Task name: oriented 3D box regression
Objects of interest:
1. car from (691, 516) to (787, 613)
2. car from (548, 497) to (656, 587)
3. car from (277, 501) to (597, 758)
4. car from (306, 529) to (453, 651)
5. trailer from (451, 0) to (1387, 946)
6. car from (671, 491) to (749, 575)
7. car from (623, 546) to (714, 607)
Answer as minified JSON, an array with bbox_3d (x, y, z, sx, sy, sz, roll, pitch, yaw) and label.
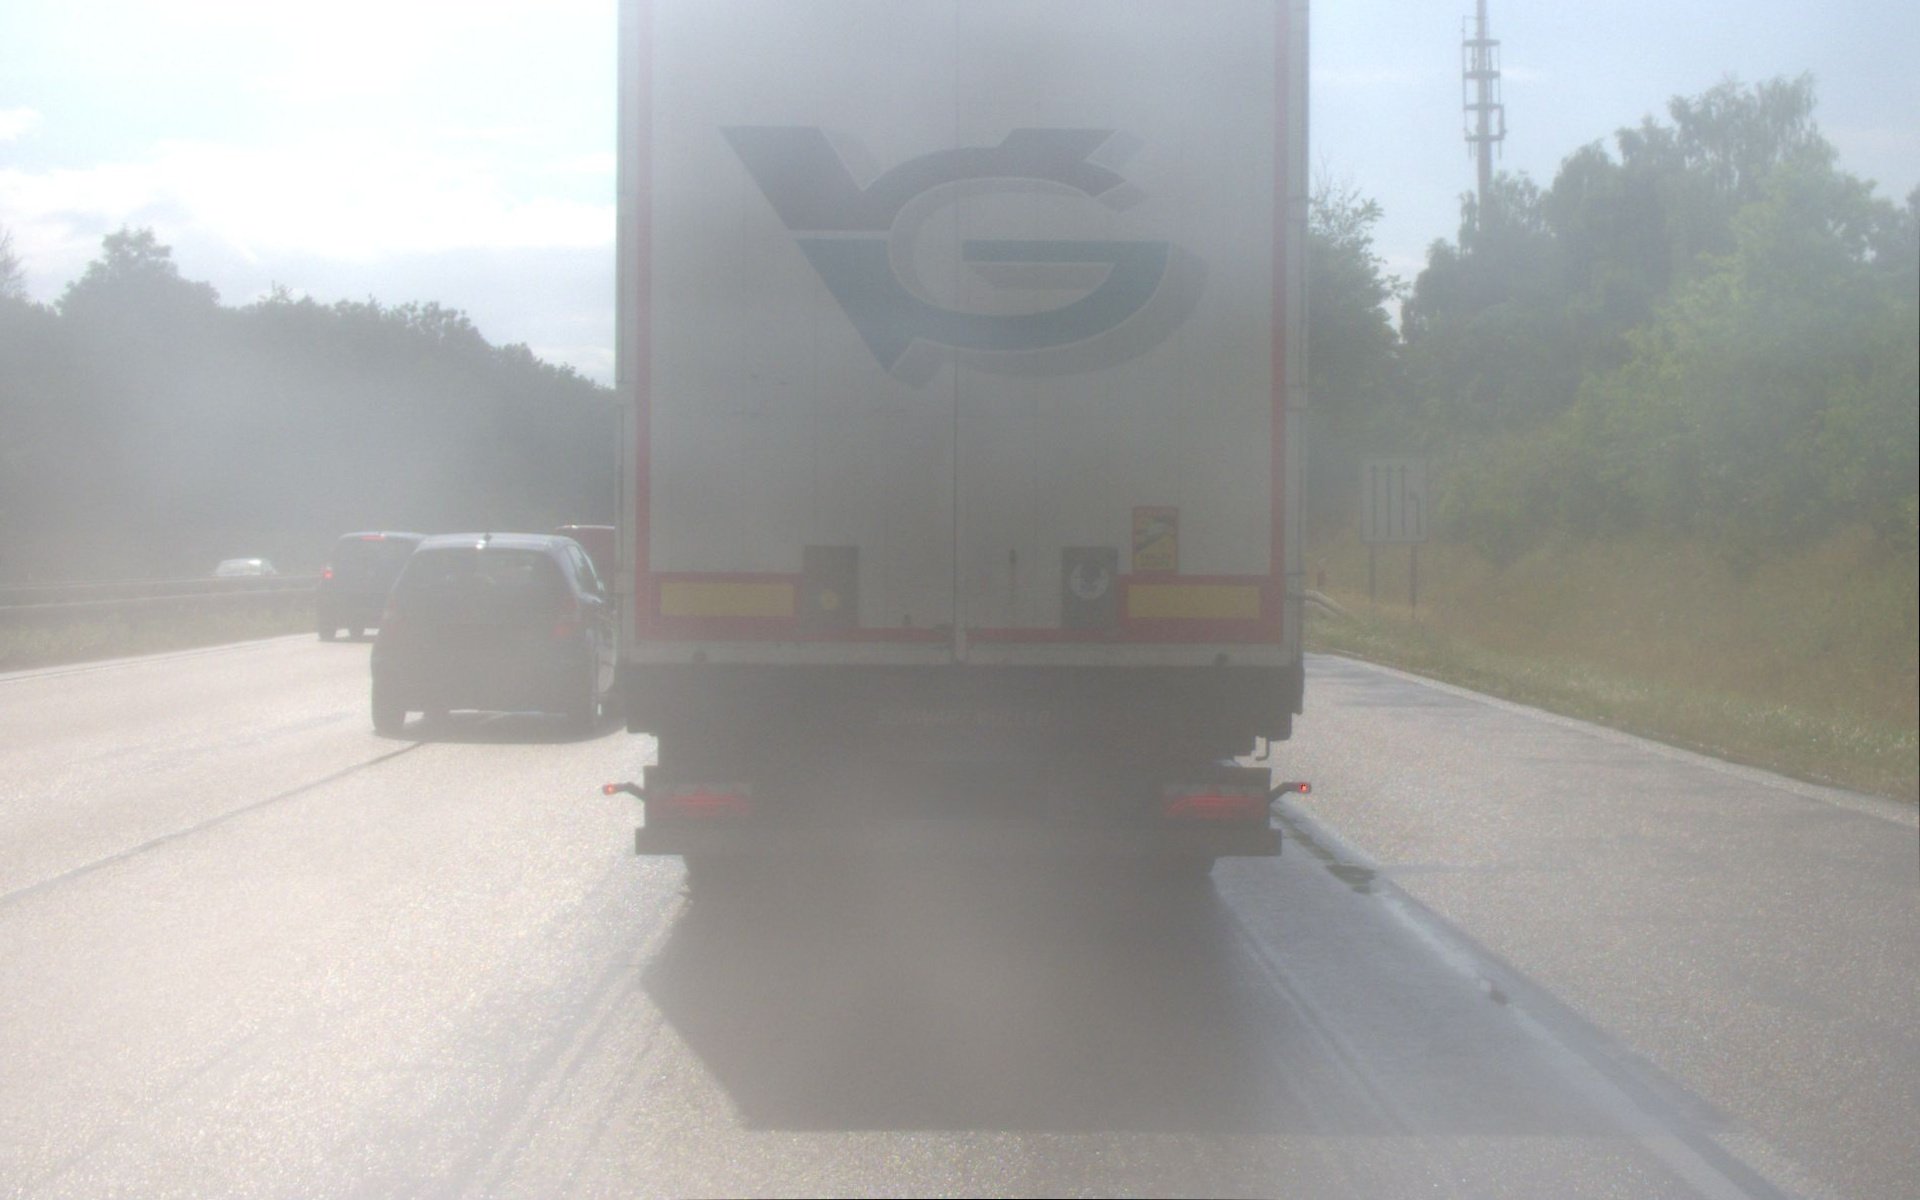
[{"bbox_3d":[-4.239,-0.682,66.429,1.692,1.798,3.976,1,0,-2],"label":"car"},{"bbox_3d":[-8.498,-1.374,81.942,1.978,2.047,4.756,1,0,1],"label":"car"},{"bbox_3d":[-4.286,0.208,28.941,2.274,1.948,4.822,1,0,-4],"label":"car"},{"bbox_3d":[-8.963,-0.168,53.350,1.692,1.798,3.976,1,0,-2],"label":"car"},{"bbox_3d":[-0.241,-0.856,19.396,3.283,3.885,14.129,1,1,-1],"label":"trailer"},{"bbox_3d":[-7.986,-2.131,110.311,1.993,2.606,5.259,1,0,1],"label":"car"},{"bbox_3d":[-7.884,-0.646,93.333,1.993,1.559,4.756,1,0,1],"label":"car"}]
